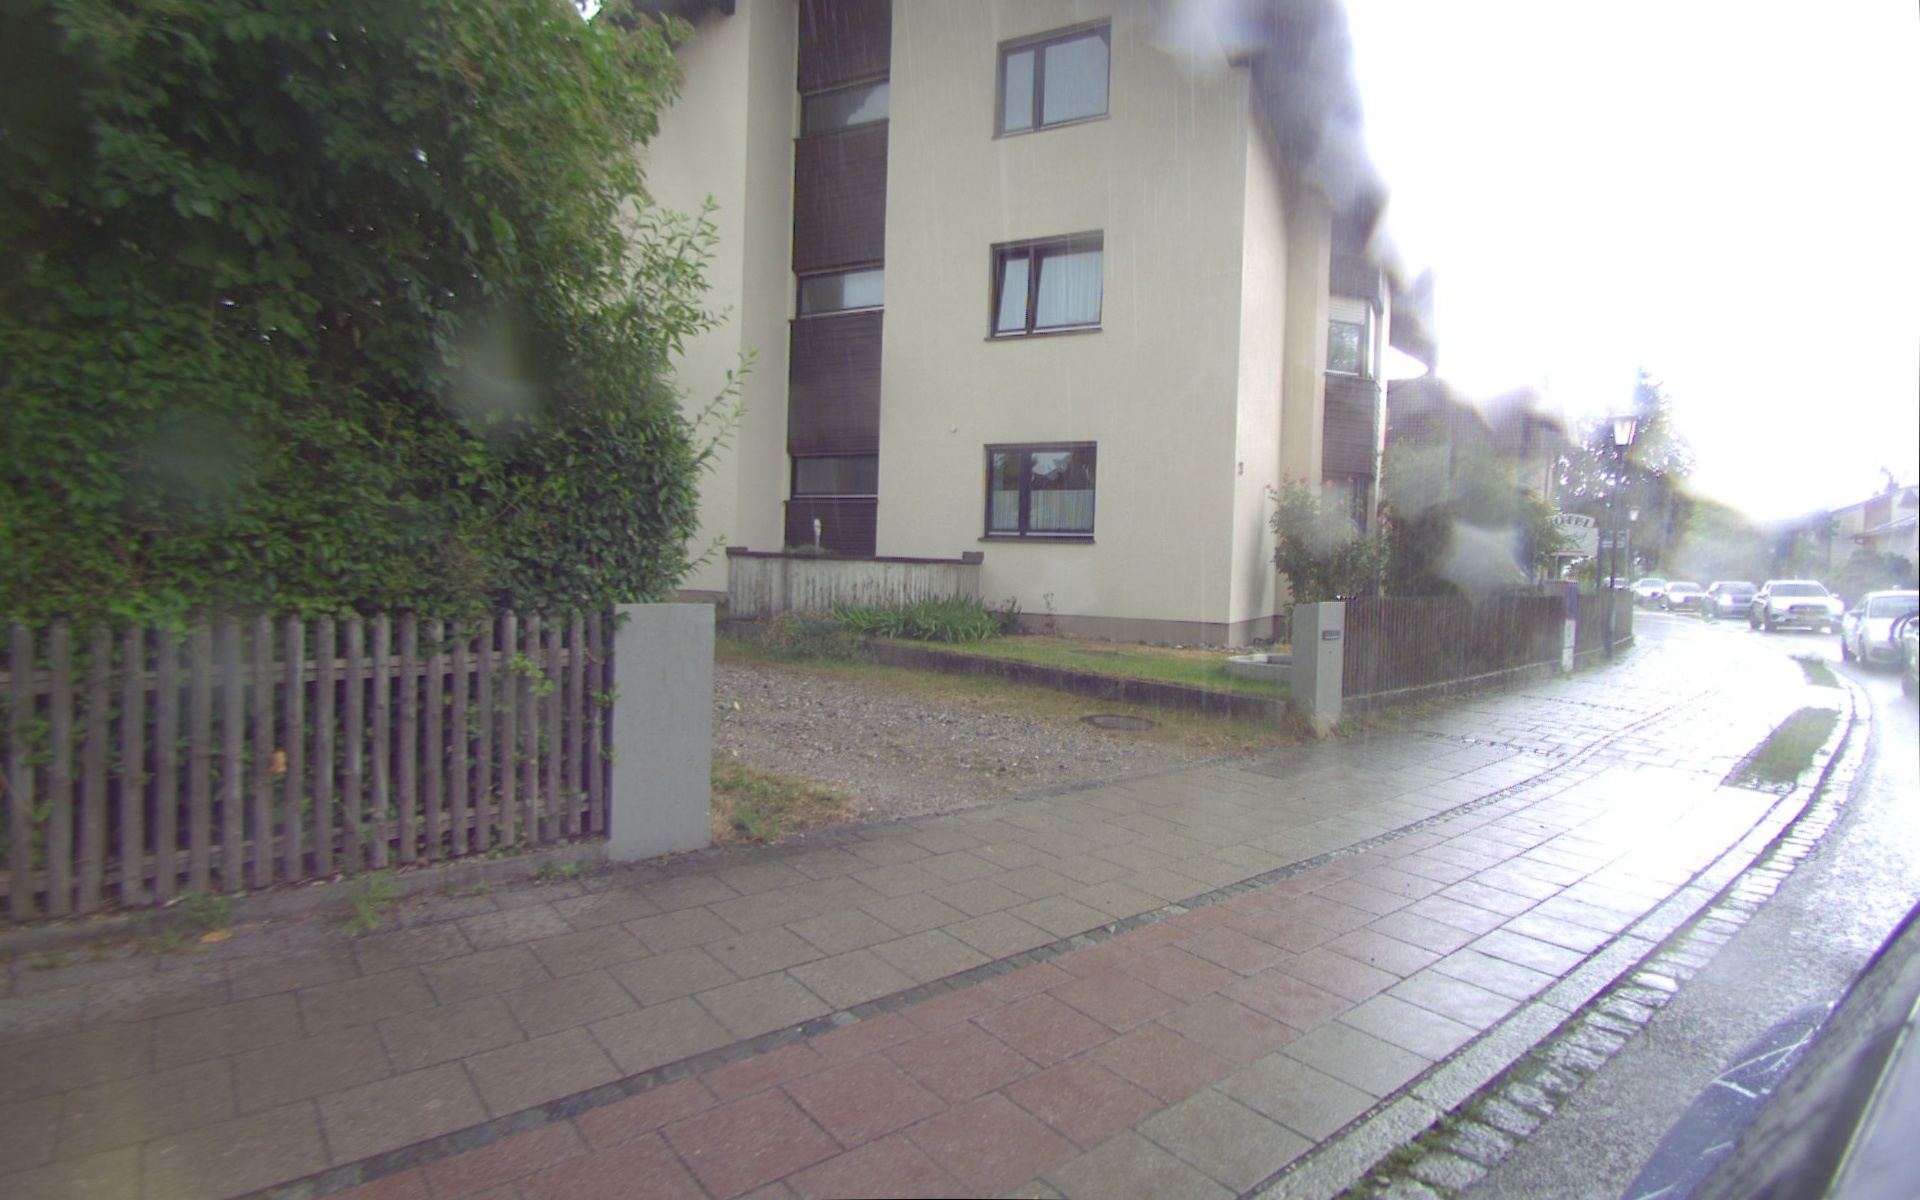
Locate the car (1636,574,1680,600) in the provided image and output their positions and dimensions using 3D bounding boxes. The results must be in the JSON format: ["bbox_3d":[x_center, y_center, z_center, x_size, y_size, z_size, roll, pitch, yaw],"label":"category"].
[{"bbox_3d":[44.034,-0.838,63.905,1.778,1.568,4.240,0,0,28],"label":"car"}]

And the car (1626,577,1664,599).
[{"bbox_3d":[48.851,-0.856,72.242,1.779,1.568,4.238,0,0,28],"label":"car"}]

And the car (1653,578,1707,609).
[{"bbox_3d":[37.993,-0.375,53.494,1.778,1.568,4.240,0,0,28],"label":"car"}]

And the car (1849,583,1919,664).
[{"bbox_3d":[18.217,0.383,19.269,1.787,1.412,4.220,0,0,40],"label":"car"}]

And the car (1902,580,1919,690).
[{"bbox_3d":[13.801,0.476,13.274,1.787,1.498,5.308,0,0,40],"label":"car"}]

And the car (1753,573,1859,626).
[{"bbox_3d":[27.023,-0.042,32.466,1.779,1.568,4.238,0,0,28],"label":"car"}]

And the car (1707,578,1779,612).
[{"bbox_3d":[34.083,-0.240,44.150,1.779,1.391,4.238,0,0,28],"label":"car"}]

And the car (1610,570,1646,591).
[{"bbox_3d":[53.691,-1.555,81.416,1.776,1.568,4.245,0,0,25],"label":"car"}]
